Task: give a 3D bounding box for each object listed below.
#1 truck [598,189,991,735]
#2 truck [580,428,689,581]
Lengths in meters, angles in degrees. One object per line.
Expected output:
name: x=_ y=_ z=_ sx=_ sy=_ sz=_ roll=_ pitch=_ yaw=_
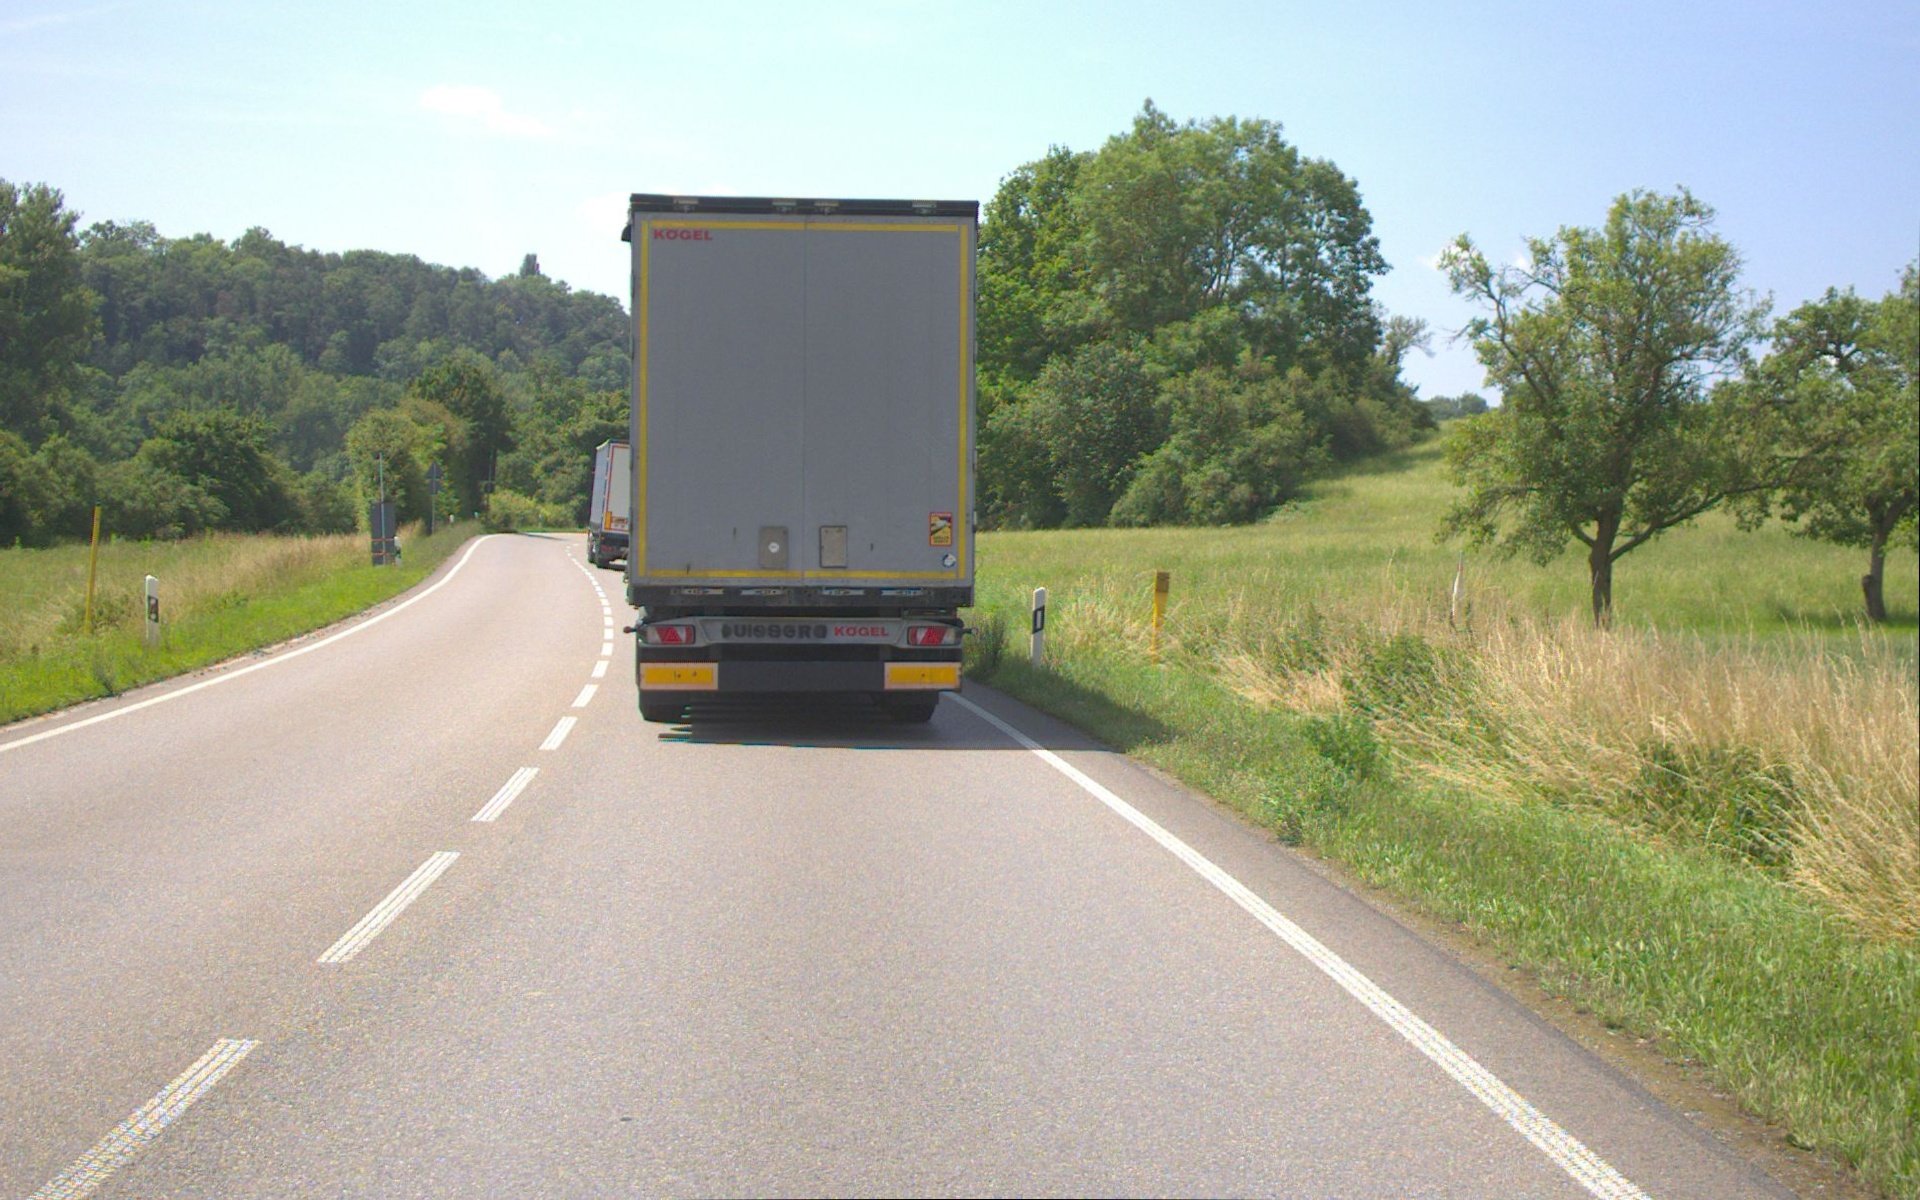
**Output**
truck: x=-1.610 y=-1.110 z=29.865 sx=2.807 sy=3.932 sz=9.593 roll=1 pitch=1 yaw=-5
truck: x=-10.938 y=-3.062 z=114.178 sx=2.960 sy=4.568 sz=16.319 roll=3 pitch=1 yaw=-7
